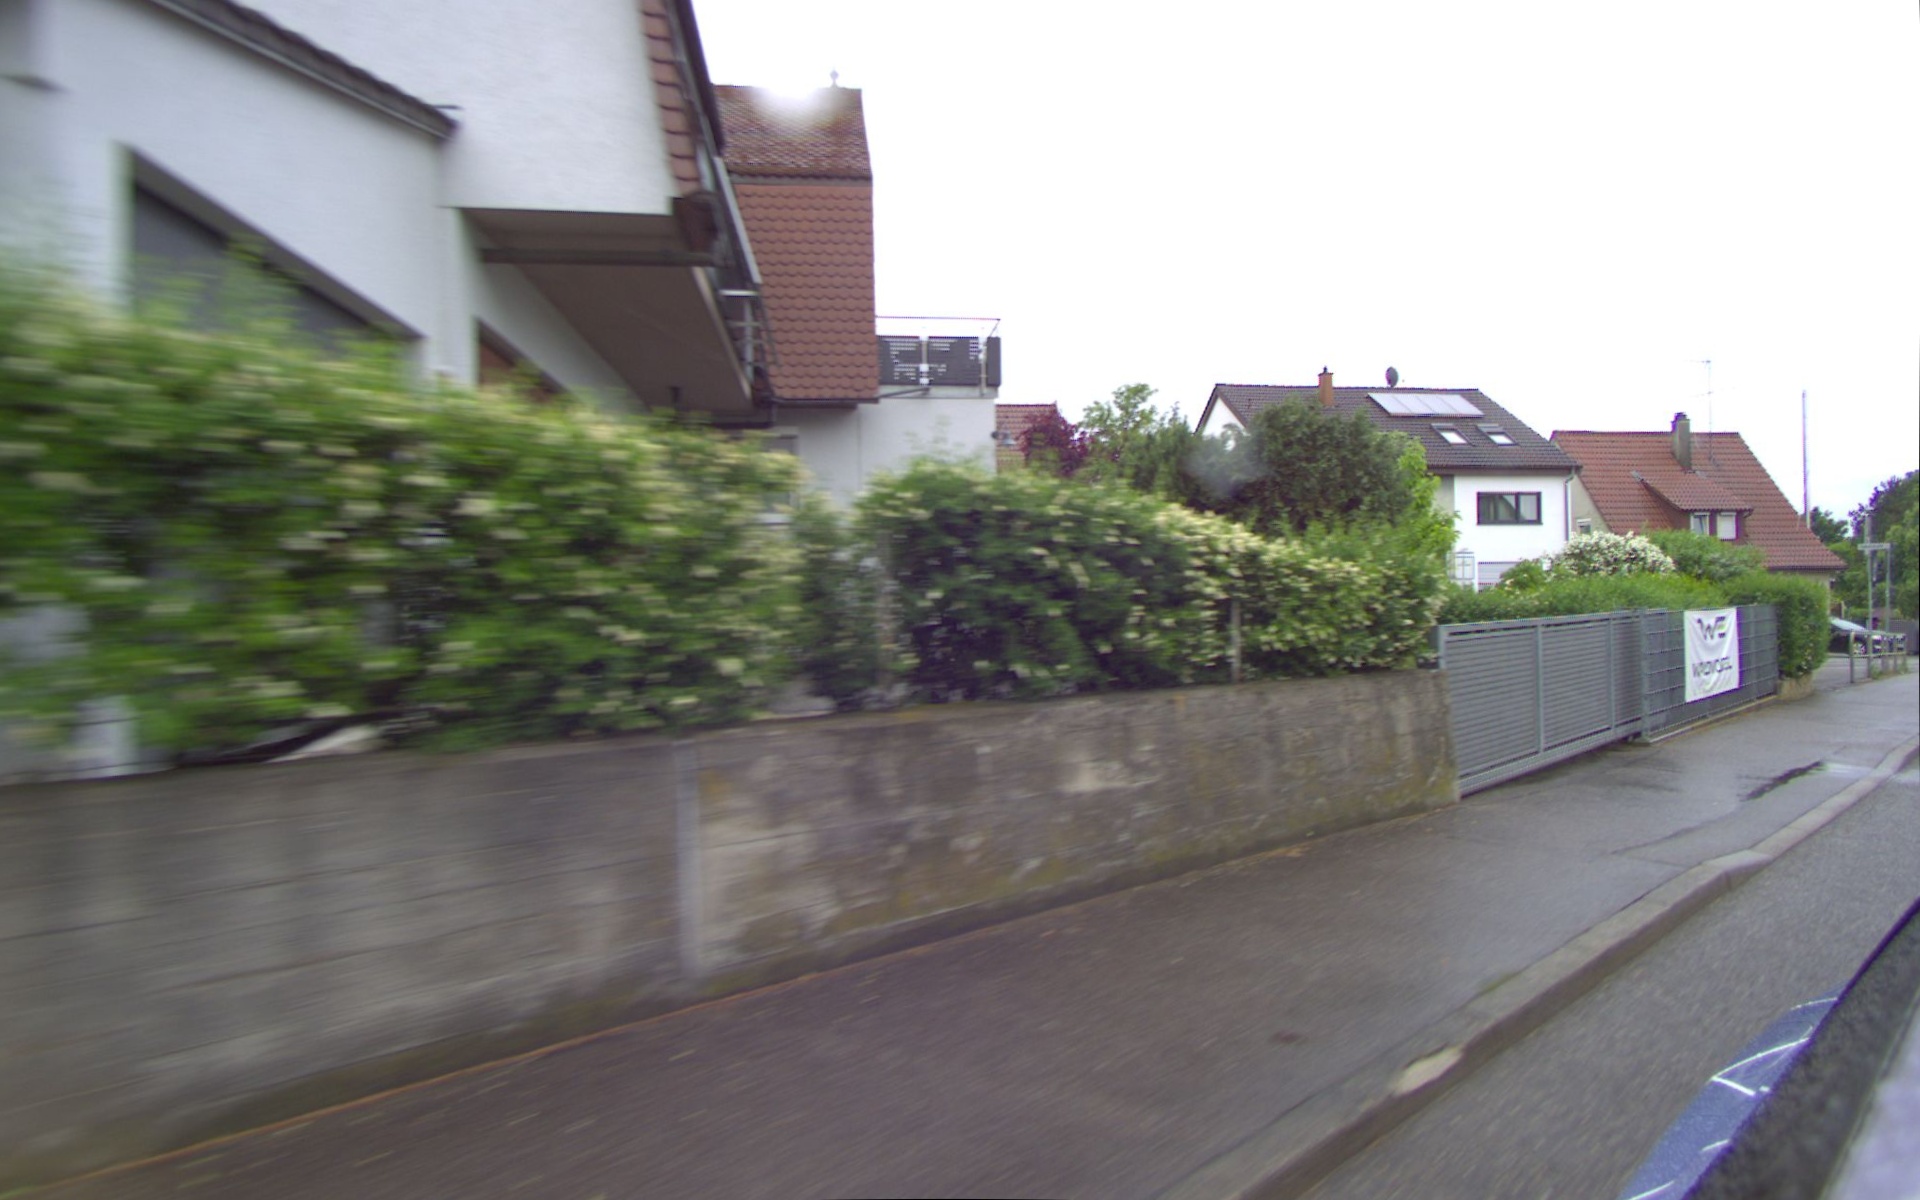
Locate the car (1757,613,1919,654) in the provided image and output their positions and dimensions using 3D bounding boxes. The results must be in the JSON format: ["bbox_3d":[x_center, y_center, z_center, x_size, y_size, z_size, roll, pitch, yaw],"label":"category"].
[{"bbox_3d":[32.230,1.242,36.920,1.958,1.402,4.579,2,-3,-21],"label":"car"}]
